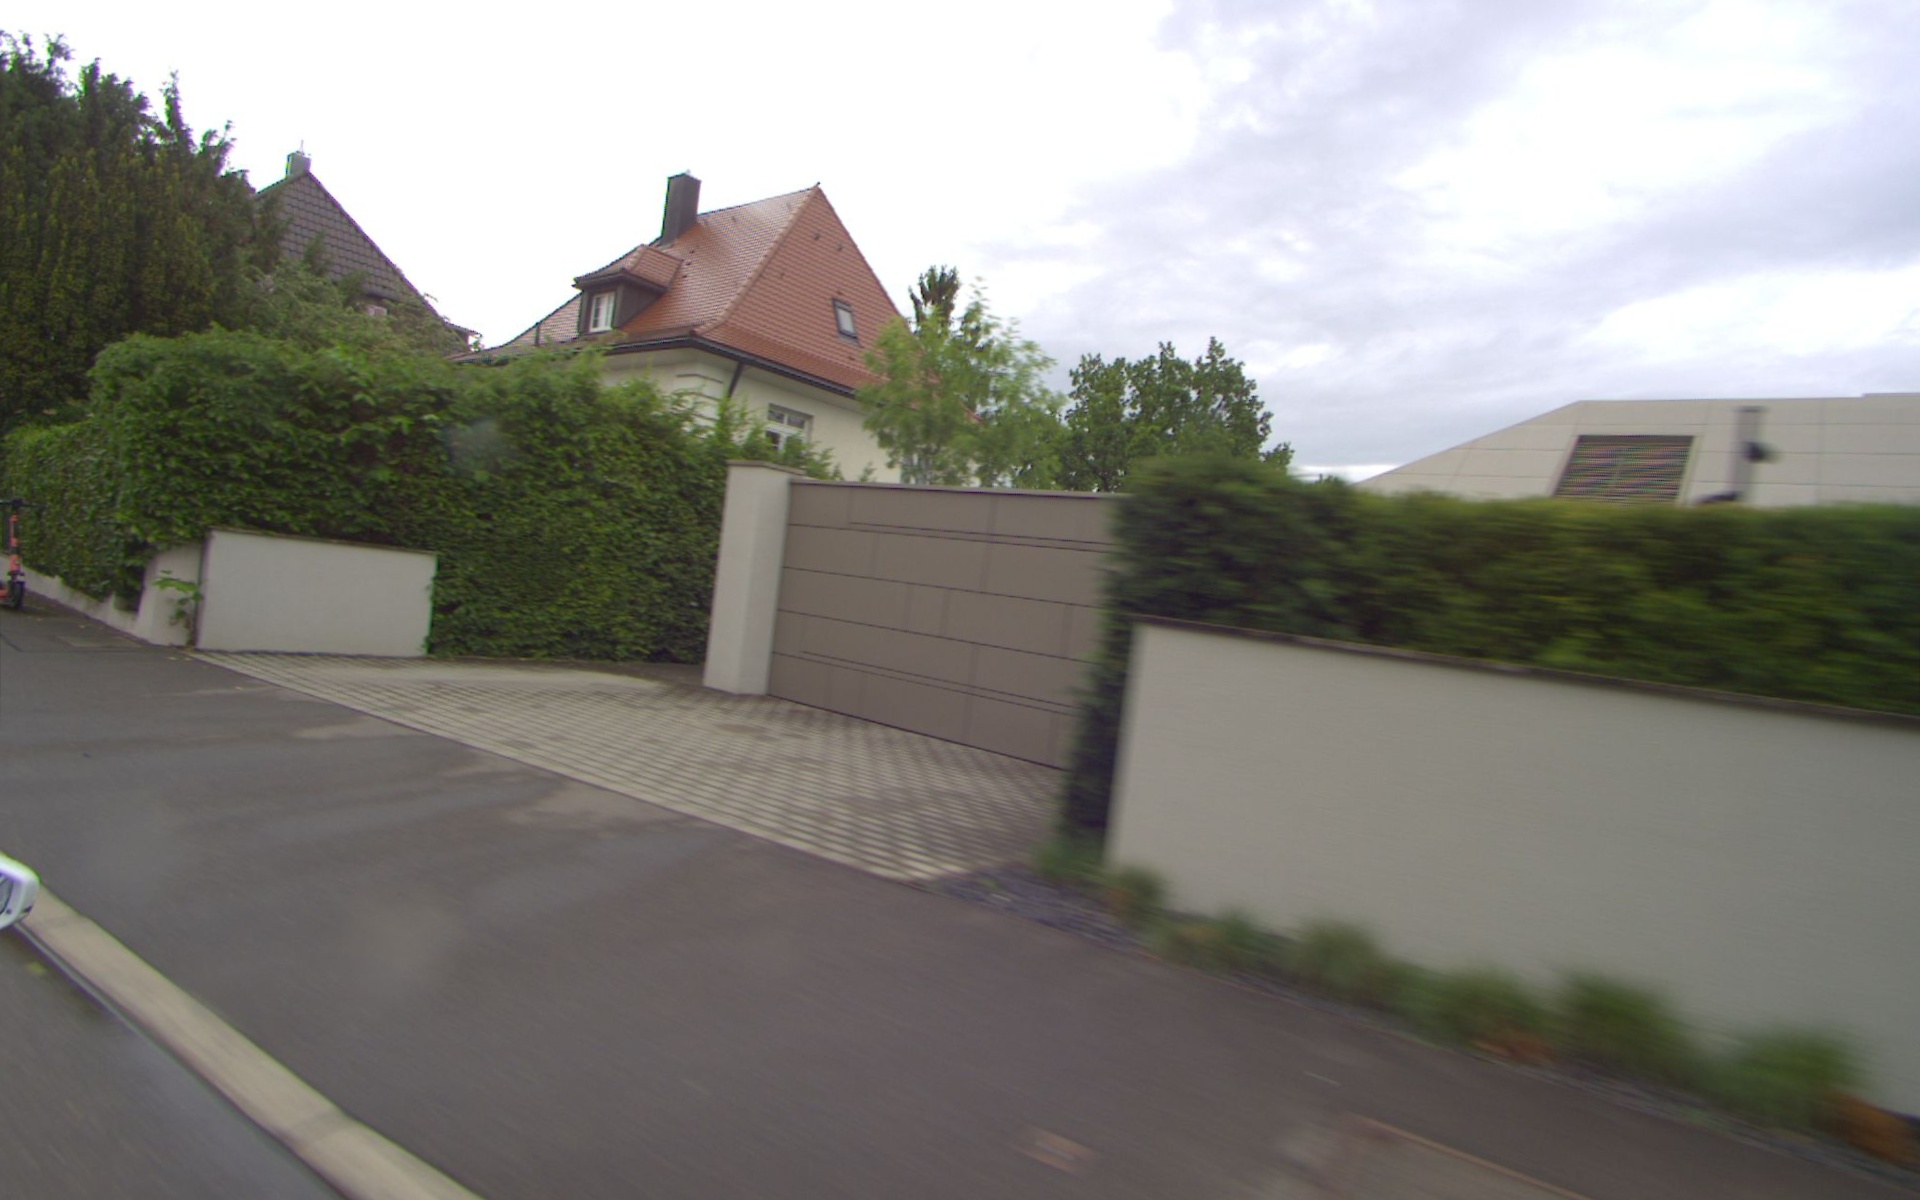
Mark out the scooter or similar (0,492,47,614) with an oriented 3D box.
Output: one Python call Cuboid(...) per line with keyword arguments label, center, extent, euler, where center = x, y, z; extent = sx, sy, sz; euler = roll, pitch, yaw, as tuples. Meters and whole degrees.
Cuboid(label="scooter or similar", center=(-11.045, -0.579, 11.579), extent=(1.459, 1.324, 0.449), euler=(7, 2, 36))
